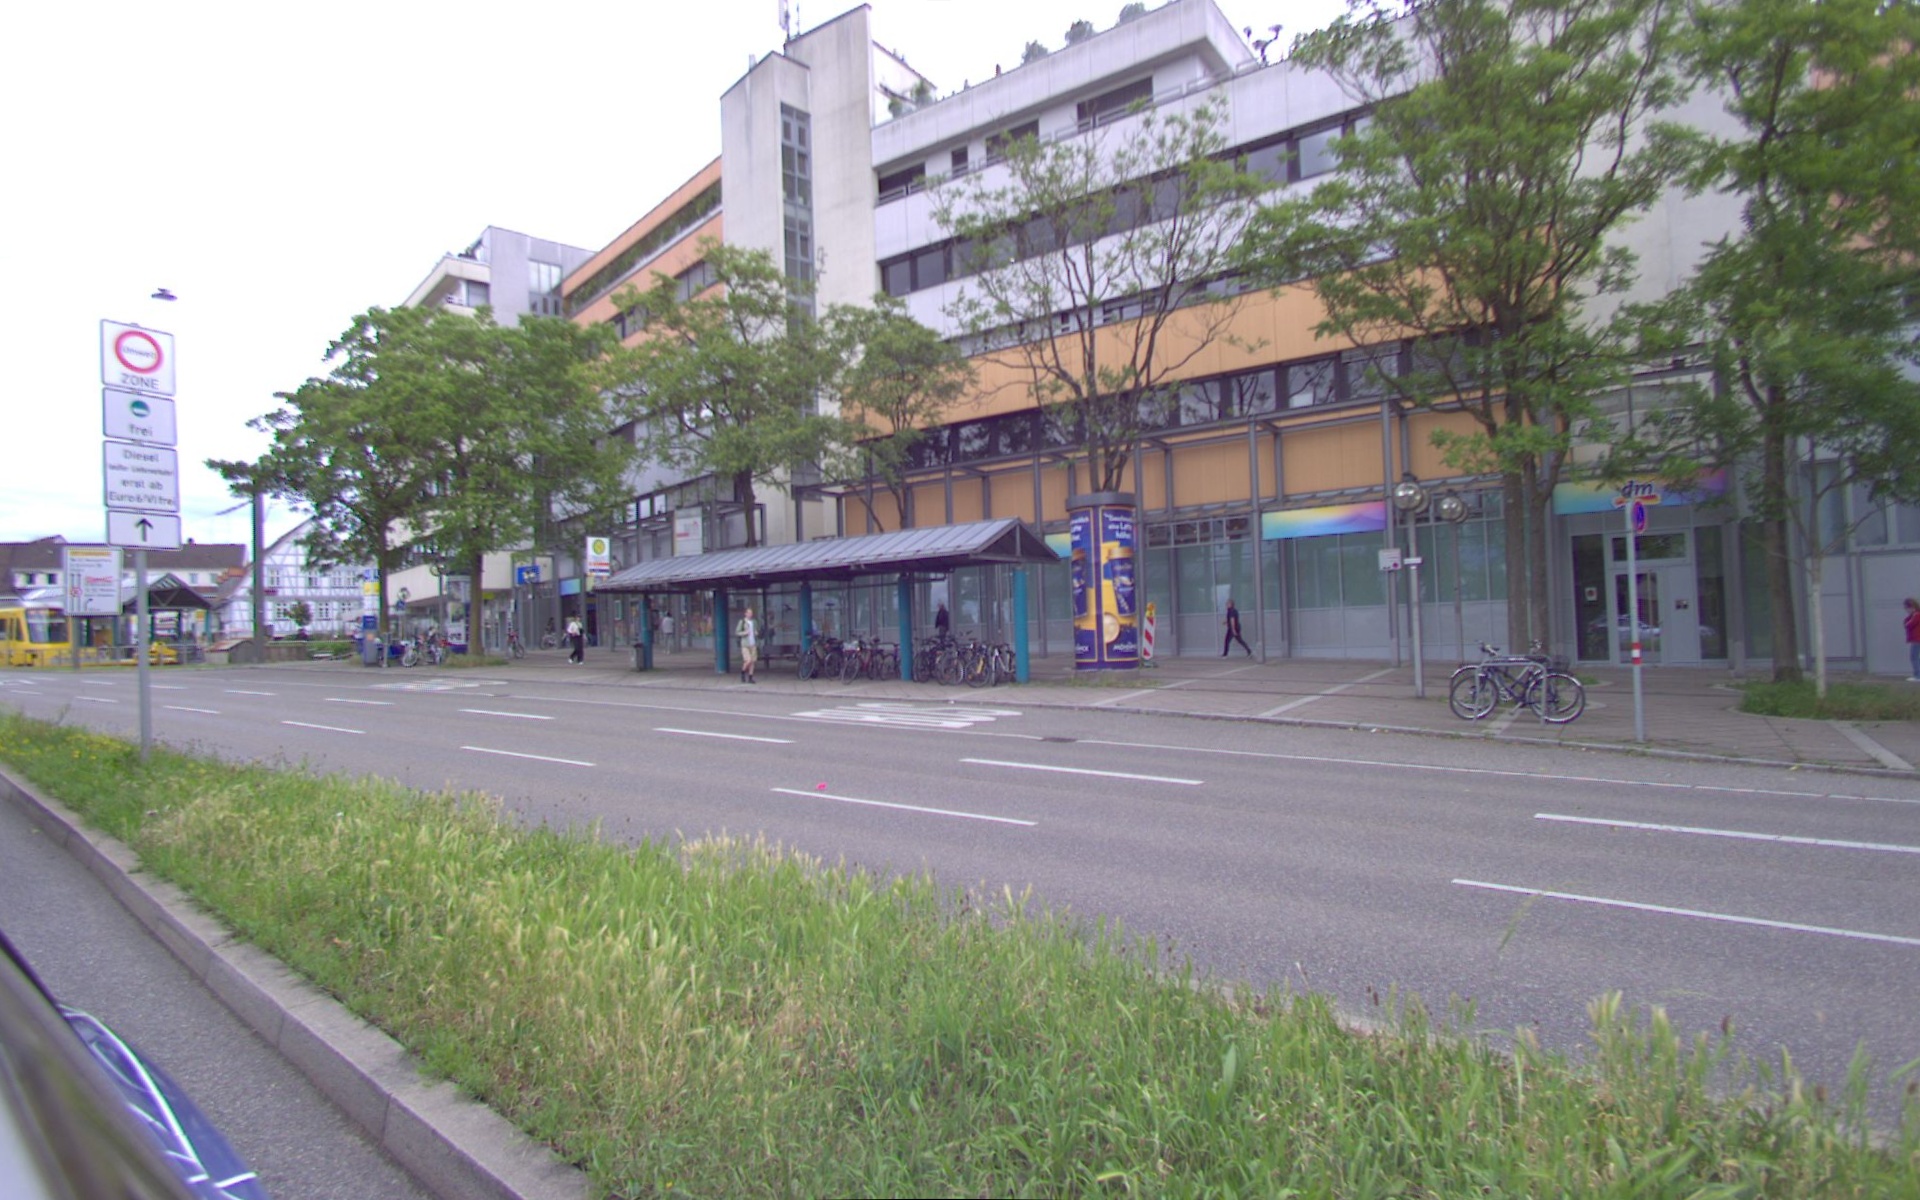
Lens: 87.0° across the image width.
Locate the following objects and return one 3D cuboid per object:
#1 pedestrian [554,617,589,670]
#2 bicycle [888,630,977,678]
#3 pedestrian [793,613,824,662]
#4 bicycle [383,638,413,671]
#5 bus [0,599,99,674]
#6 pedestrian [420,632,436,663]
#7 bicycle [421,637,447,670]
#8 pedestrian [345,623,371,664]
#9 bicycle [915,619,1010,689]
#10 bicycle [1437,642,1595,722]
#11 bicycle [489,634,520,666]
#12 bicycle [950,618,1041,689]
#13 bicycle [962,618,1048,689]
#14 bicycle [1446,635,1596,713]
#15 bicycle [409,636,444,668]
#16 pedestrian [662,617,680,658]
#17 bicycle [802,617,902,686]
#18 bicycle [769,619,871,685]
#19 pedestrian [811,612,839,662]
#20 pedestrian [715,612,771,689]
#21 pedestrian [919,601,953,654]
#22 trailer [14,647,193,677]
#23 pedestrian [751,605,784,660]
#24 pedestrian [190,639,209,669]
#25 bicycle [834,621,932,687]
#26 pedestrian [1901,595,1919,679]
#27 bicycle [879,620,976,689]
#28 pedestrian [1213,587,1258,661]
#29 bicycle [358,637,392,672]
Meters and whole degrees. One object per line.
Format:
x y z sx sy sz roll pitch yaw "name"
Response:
-13.252 1.479 34.522 0.705 1.725 0.768 -2 0 35 "pedestrian"
-0.660 1.357 25.873 0.803 1.121 2.876 -2 -2 32 "bicycle"
-5.030 1.245 33.521 0.705 1.595 0.660 -2 0 35 "pedestrian"
-20.482 1.978 36.913 0.594 1.170 1.971 -1 -2 -18 "bicycle"
-56.719 2.271 58.740 19.257 3.889 3.851 -2 -2 29 "bus"
-29.329 2.627 55.758 0.626 1.713 0.545 -2 -2 31 "pedestrian"
-19.131 1.929 36.825 0.594 1.170 1.694 -1 -2 -18 "bicycle"
-27.801 2.000 46.721 0.871 1.891 0.738 -3 -2 33 "pedestrian"
0.098 1.217 23.451 0.776 1.518 2.876 -2 -2 32 "bicycle"
8.013 1.169 14.689 1.926 1.092 0.825 -2 -2 28 "bicycle"
-17.794 1.943 39.575 0.663 1.170 2.023 -1 -2 -10 "bicycle"
0.851 1.186 23.052 0.698 1.518 2.876 -2 -2 32 "bicycle"
1.066 1.171 22.991 0.597 1.518 2.876 -2 -2 32 "bicycle"
8.605 1.128 15.620 1.946 1.145 0.709 -2 -2 27 "bicycle"
-20.039 1.967 37.979 1.966 1.170 0.596 -3 -3 45 "bicycle"
-11.668 1.488 40.815 0.623 1.612 0.624 -2 0 -18 "pedestrian"
-2.698 1.272 25.679 0.889 1.518 2.877 -2 0 32 "bicycle"
-3.572 1.318 26.201 0.969 1.518 2.876 -2 0 32 "bicycle"
-4.551 1.242 34.040 0.622 1.612 0.626 -2 0 37 "pedestrian"
-5.380 1.238 25.102 1.212 1.836 0.697 -1 0 38 "pedestrian"
-0.815 0.935 34.011 0.789 1.729 0.762 -2 0 41 "pedestrian"
-43.100 3.139 50.724 12.073 1.343 2.822 -2 -2 29 "trailer"
-6.294 1.043 33.081 0.763 1.729 0.789 -2 0 -32 "pedestrian"
-39.688 2.817 52.801 0.618 1.585 0.594 -3 -3 30 "pedestrian"
-1.871 1.306 25.151 0.809 1.518 2.874 -2 -2 34 "bicycle"
18.617 0.695 19.299 0.822 1.598 0.629 -2 -2 31 "pedestrian"
-0.717 1.255 23.943 0.803 1.518 2.876 -2 -2 32 "bicycle"
7.783 0.687 28.576 0.932 2.029 0.888 -2 -2 35 "pedestrian"
-21.352 1.972 36.964 0.594 1.170 1.971 -3 0 -17 "bicycle"
